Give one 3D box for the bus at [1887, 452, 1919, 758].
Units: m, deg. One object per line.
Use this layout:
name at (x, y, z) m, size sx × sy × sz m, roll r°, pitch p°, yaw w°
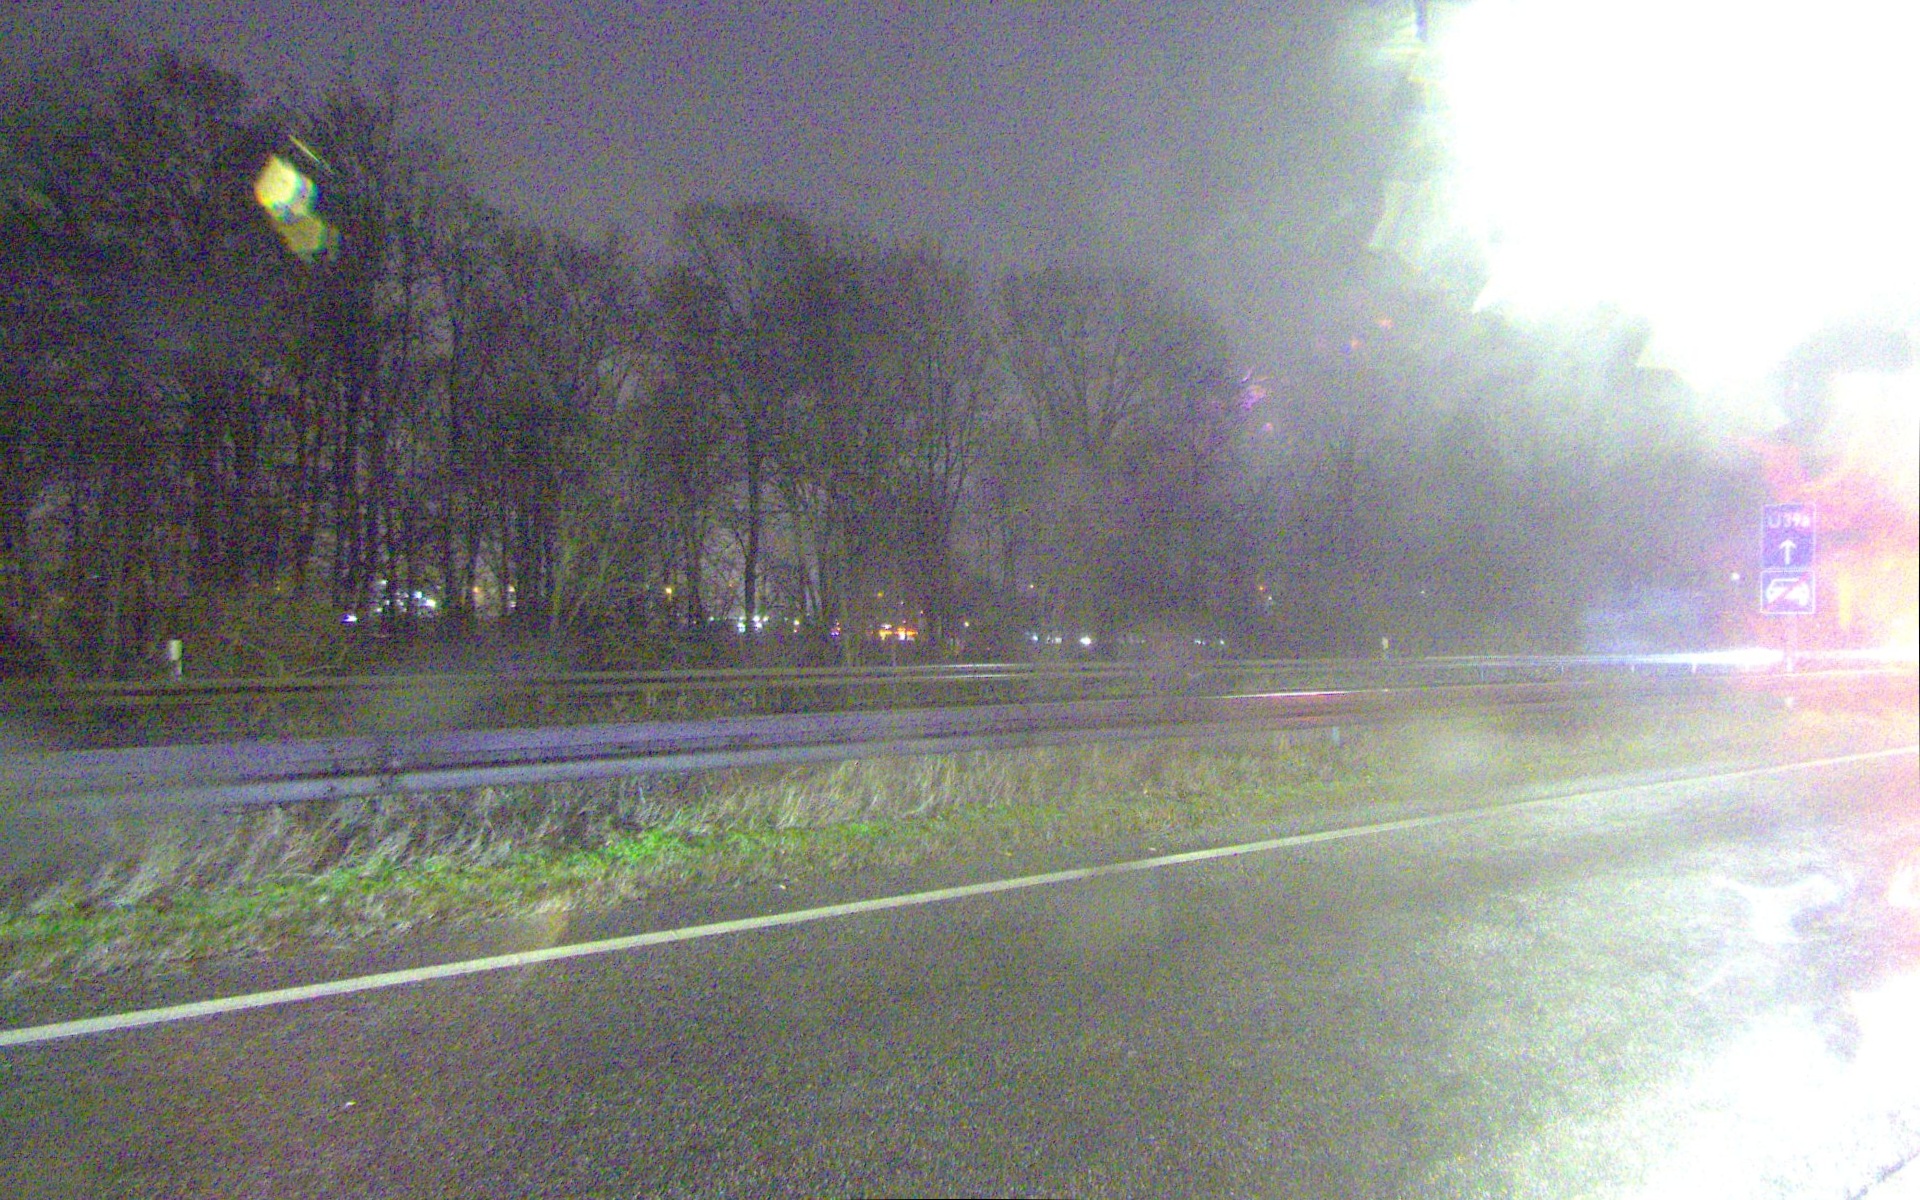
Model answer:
bus at (13.831, 0.127, 11.378) m, size 8.591 × 3.064 × 2.800 m, roll 1°, pitch 0°, yaw -32°
